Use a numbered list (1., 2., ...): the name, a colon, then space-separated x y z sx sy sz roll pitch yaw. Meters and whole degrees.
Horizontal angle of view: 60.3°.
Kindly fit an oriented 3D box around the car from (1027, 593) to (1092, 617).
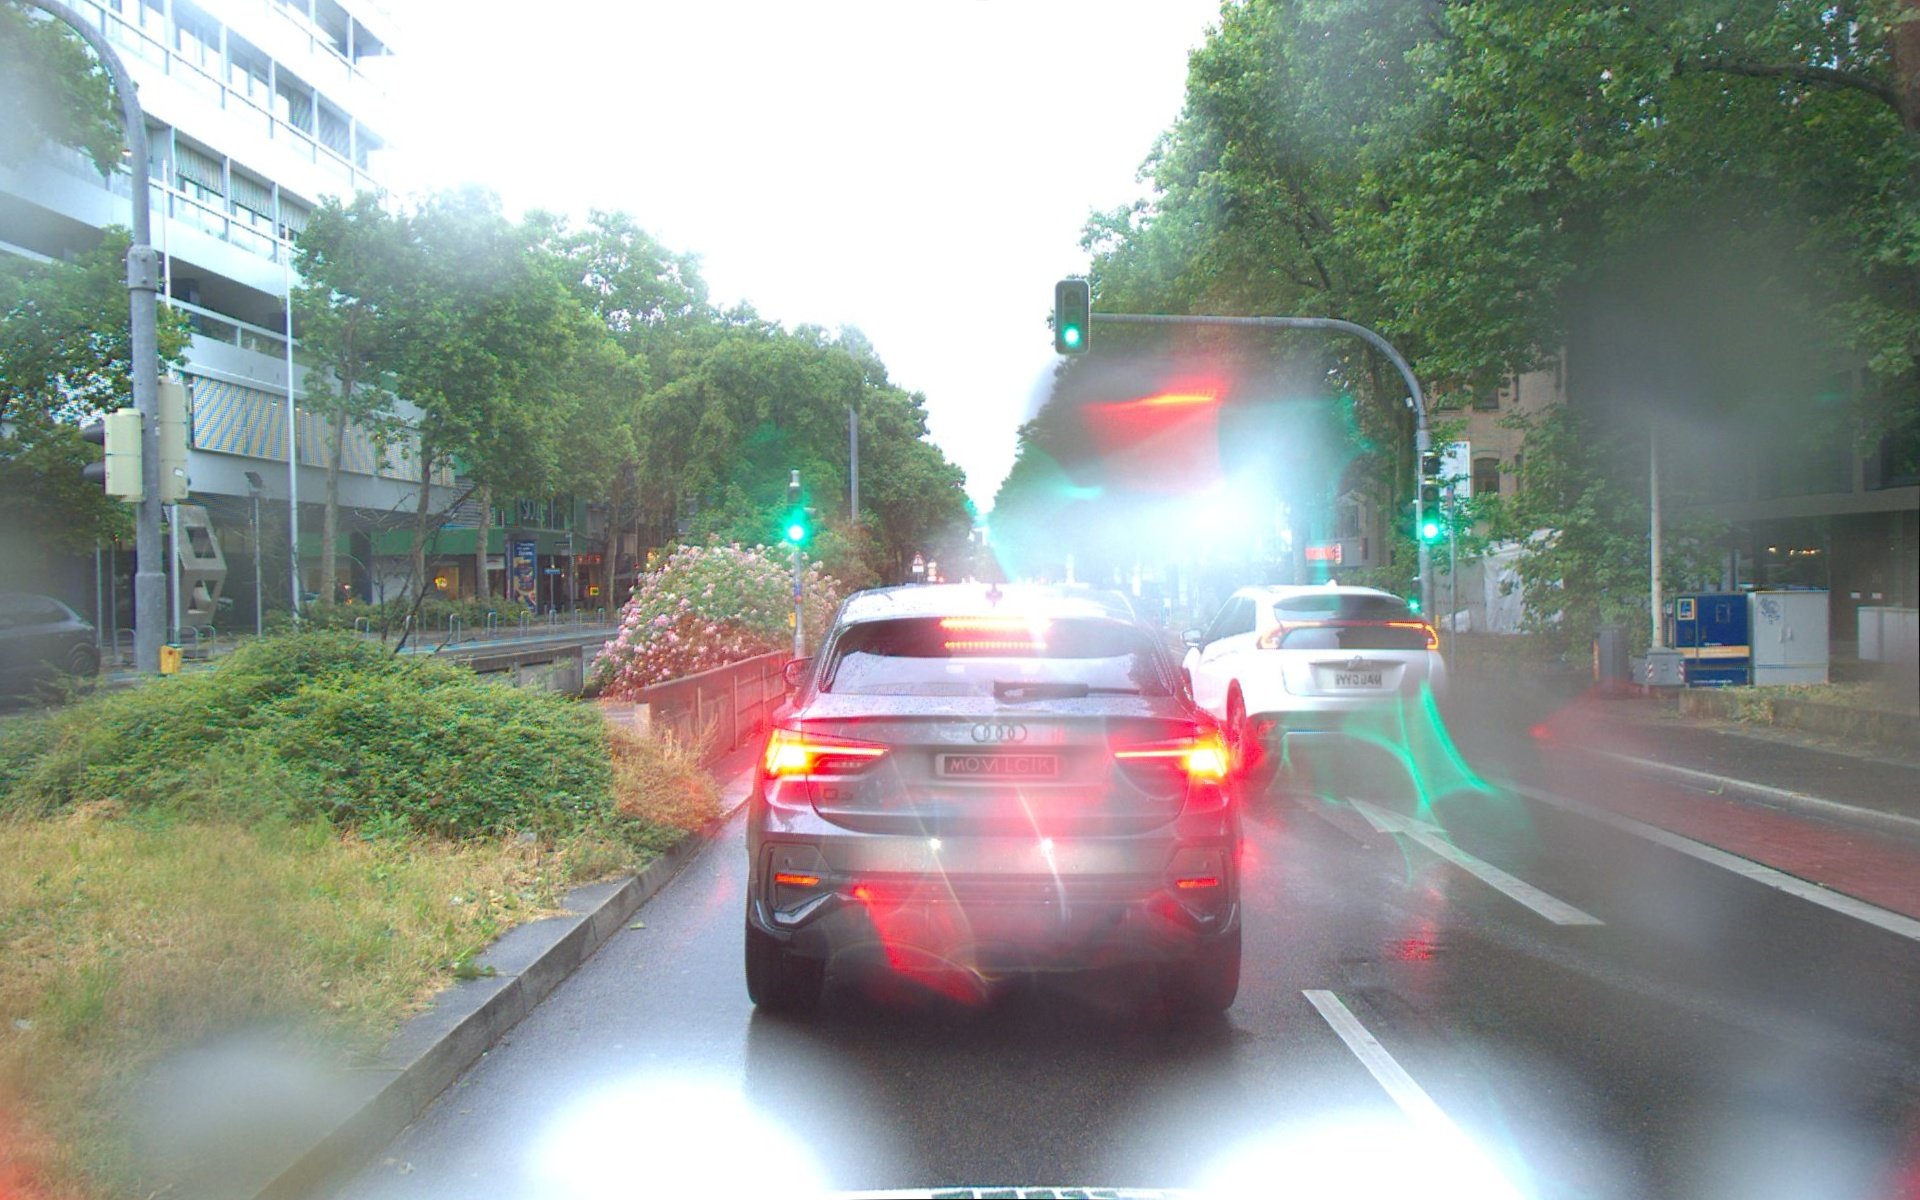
1. car: 7.669 0.385 127.673 4.549 1.736 1.997 1 -1 28

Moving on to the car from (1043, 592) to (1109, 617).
1. car: 8.681 0.328 123.669 4.549 1.736 1.997 1 -1 28

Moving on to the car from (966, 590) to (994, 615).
1. car: 1.475 0.205 121.949 1.953 1.757 3.999 1 -1 -1

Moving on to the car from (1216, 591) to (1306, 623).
1. car: 10.715 0.257 58.889 2.831 1.093 1.452 1 -1 31

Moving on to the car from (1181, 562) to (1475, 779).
1. car: 3.259 0.589 15.442 1.839 1.727 4.000 1 -1 0

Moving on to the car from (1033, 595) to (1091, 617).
1. car: 8.695 0.501 140.710 4.549 1.736 1.997 1 -1 28

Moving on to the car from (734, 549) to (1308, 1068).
1. car: 0.167 0.655 7.221 1.812 1.630 3.999 0 0 -1

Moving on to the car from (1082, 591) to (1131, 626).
1. car: 6.979 0.421 79.156 1.693 1.599 4.070 1 0 -4

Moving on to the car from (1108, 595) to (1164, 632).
1. car: 7.241 0.555 68.427 1.835 1.446 4.611 1 0 0

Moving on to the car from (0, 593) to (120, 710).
1. car: -14.054 0.695 23.166 1.869 1.612 4.748 1 0 4

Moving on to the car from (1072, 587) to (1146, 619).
1. car: 9.835 0.195 109.174 4.519 2.049 1.959 1 -1 39

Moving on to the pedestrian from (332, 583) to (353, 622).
1. pedestrian: -24.426 0.105 65.448 0.597 1.508 0.574 1 -1 -3

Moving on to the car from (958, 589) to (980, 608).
1. car: 0.779 -0.093 148.853 1.857 1.627 3.938 1 0 -1

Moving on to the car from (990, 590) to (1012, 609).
1. car: 3.724 -0.068 151.132 1.952 1.680 4.000 1 0 0
